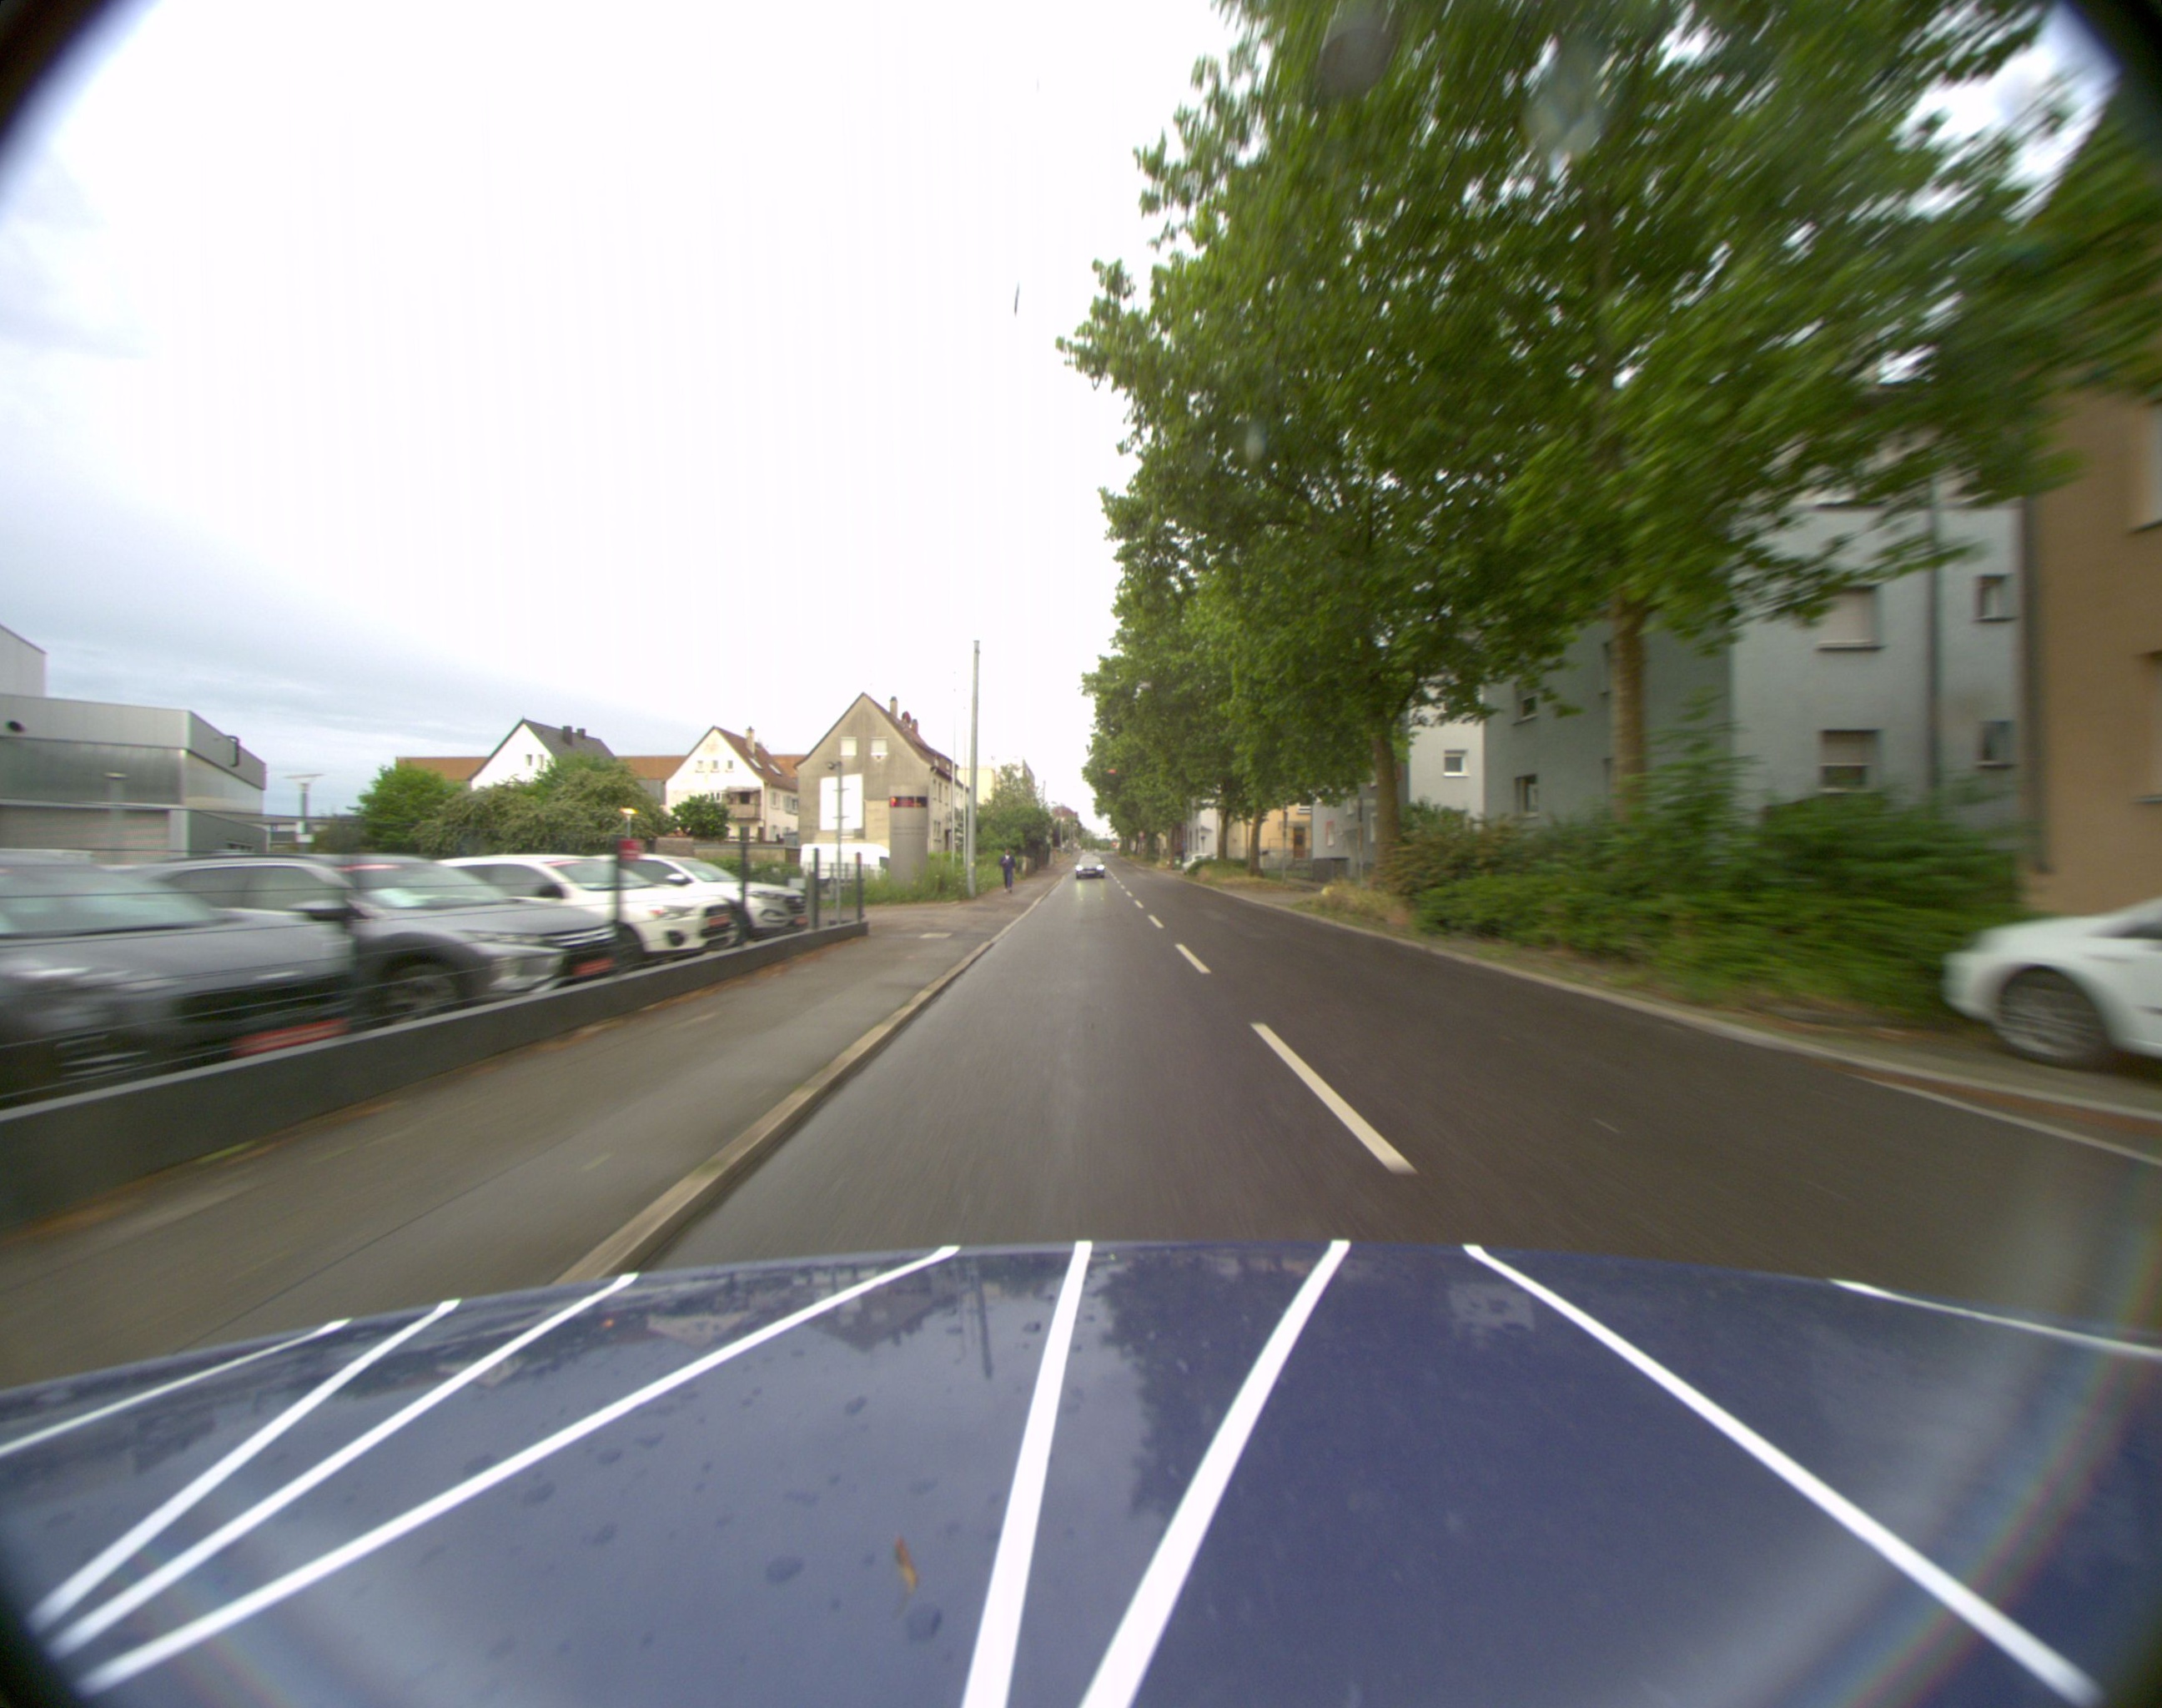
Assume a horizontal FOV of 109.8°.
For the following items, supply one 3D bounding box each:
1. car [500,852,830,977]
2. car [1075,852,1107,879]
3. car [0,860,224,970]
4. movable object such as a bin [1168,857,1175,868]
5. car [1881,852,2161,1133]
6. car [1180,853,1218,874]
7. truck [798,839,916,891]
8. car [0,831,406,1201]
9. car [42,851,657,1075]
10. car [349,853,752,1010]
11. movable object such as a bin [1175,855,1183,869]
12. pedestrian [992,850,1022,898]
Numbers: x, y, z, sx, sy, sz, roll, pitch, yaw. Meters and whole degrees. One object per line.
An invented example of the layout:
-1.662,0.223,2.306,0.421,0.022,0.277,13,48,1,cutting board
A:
-6.724,0.934,12.681,4.313,1.758,2.000,-2,1,1,car
0.624,0.687,48.397,1.949,1.644,3.859,-1,0,0,car
-17.409,0.931,12.506,4.514,1.617,1.870,1,0,1,car
7.214,0.671,60.453,0.513,0.922,0.581,0,2,1,movable object such as a bin
6.920,0.767,3.540,1.790,1.542,4.352,-1,0,0,car
8.067,0.613,52.277,1.760,1.318,4.537,-2,1,-2,car
-12.460,0.582,42.506,5.859,2.622,2.043,-2,2,0,truck
-6.987,0.817,4.492,4.239,1.726,1.869,-2,2,1,car
-6.737,0.927,7.391,4.077,1.726,1.869,-2,2,1,car
-6.729,0.935,9.975,3.958,1.714,1.791,-2,1,1,car
7.790,0.618,60.486,0.536,1.051,0.762,0,2,1,movable object such as a bin
-2.965,0.801,30.492,1.045,1.886,0.900,-1,2,1,pedestrian
